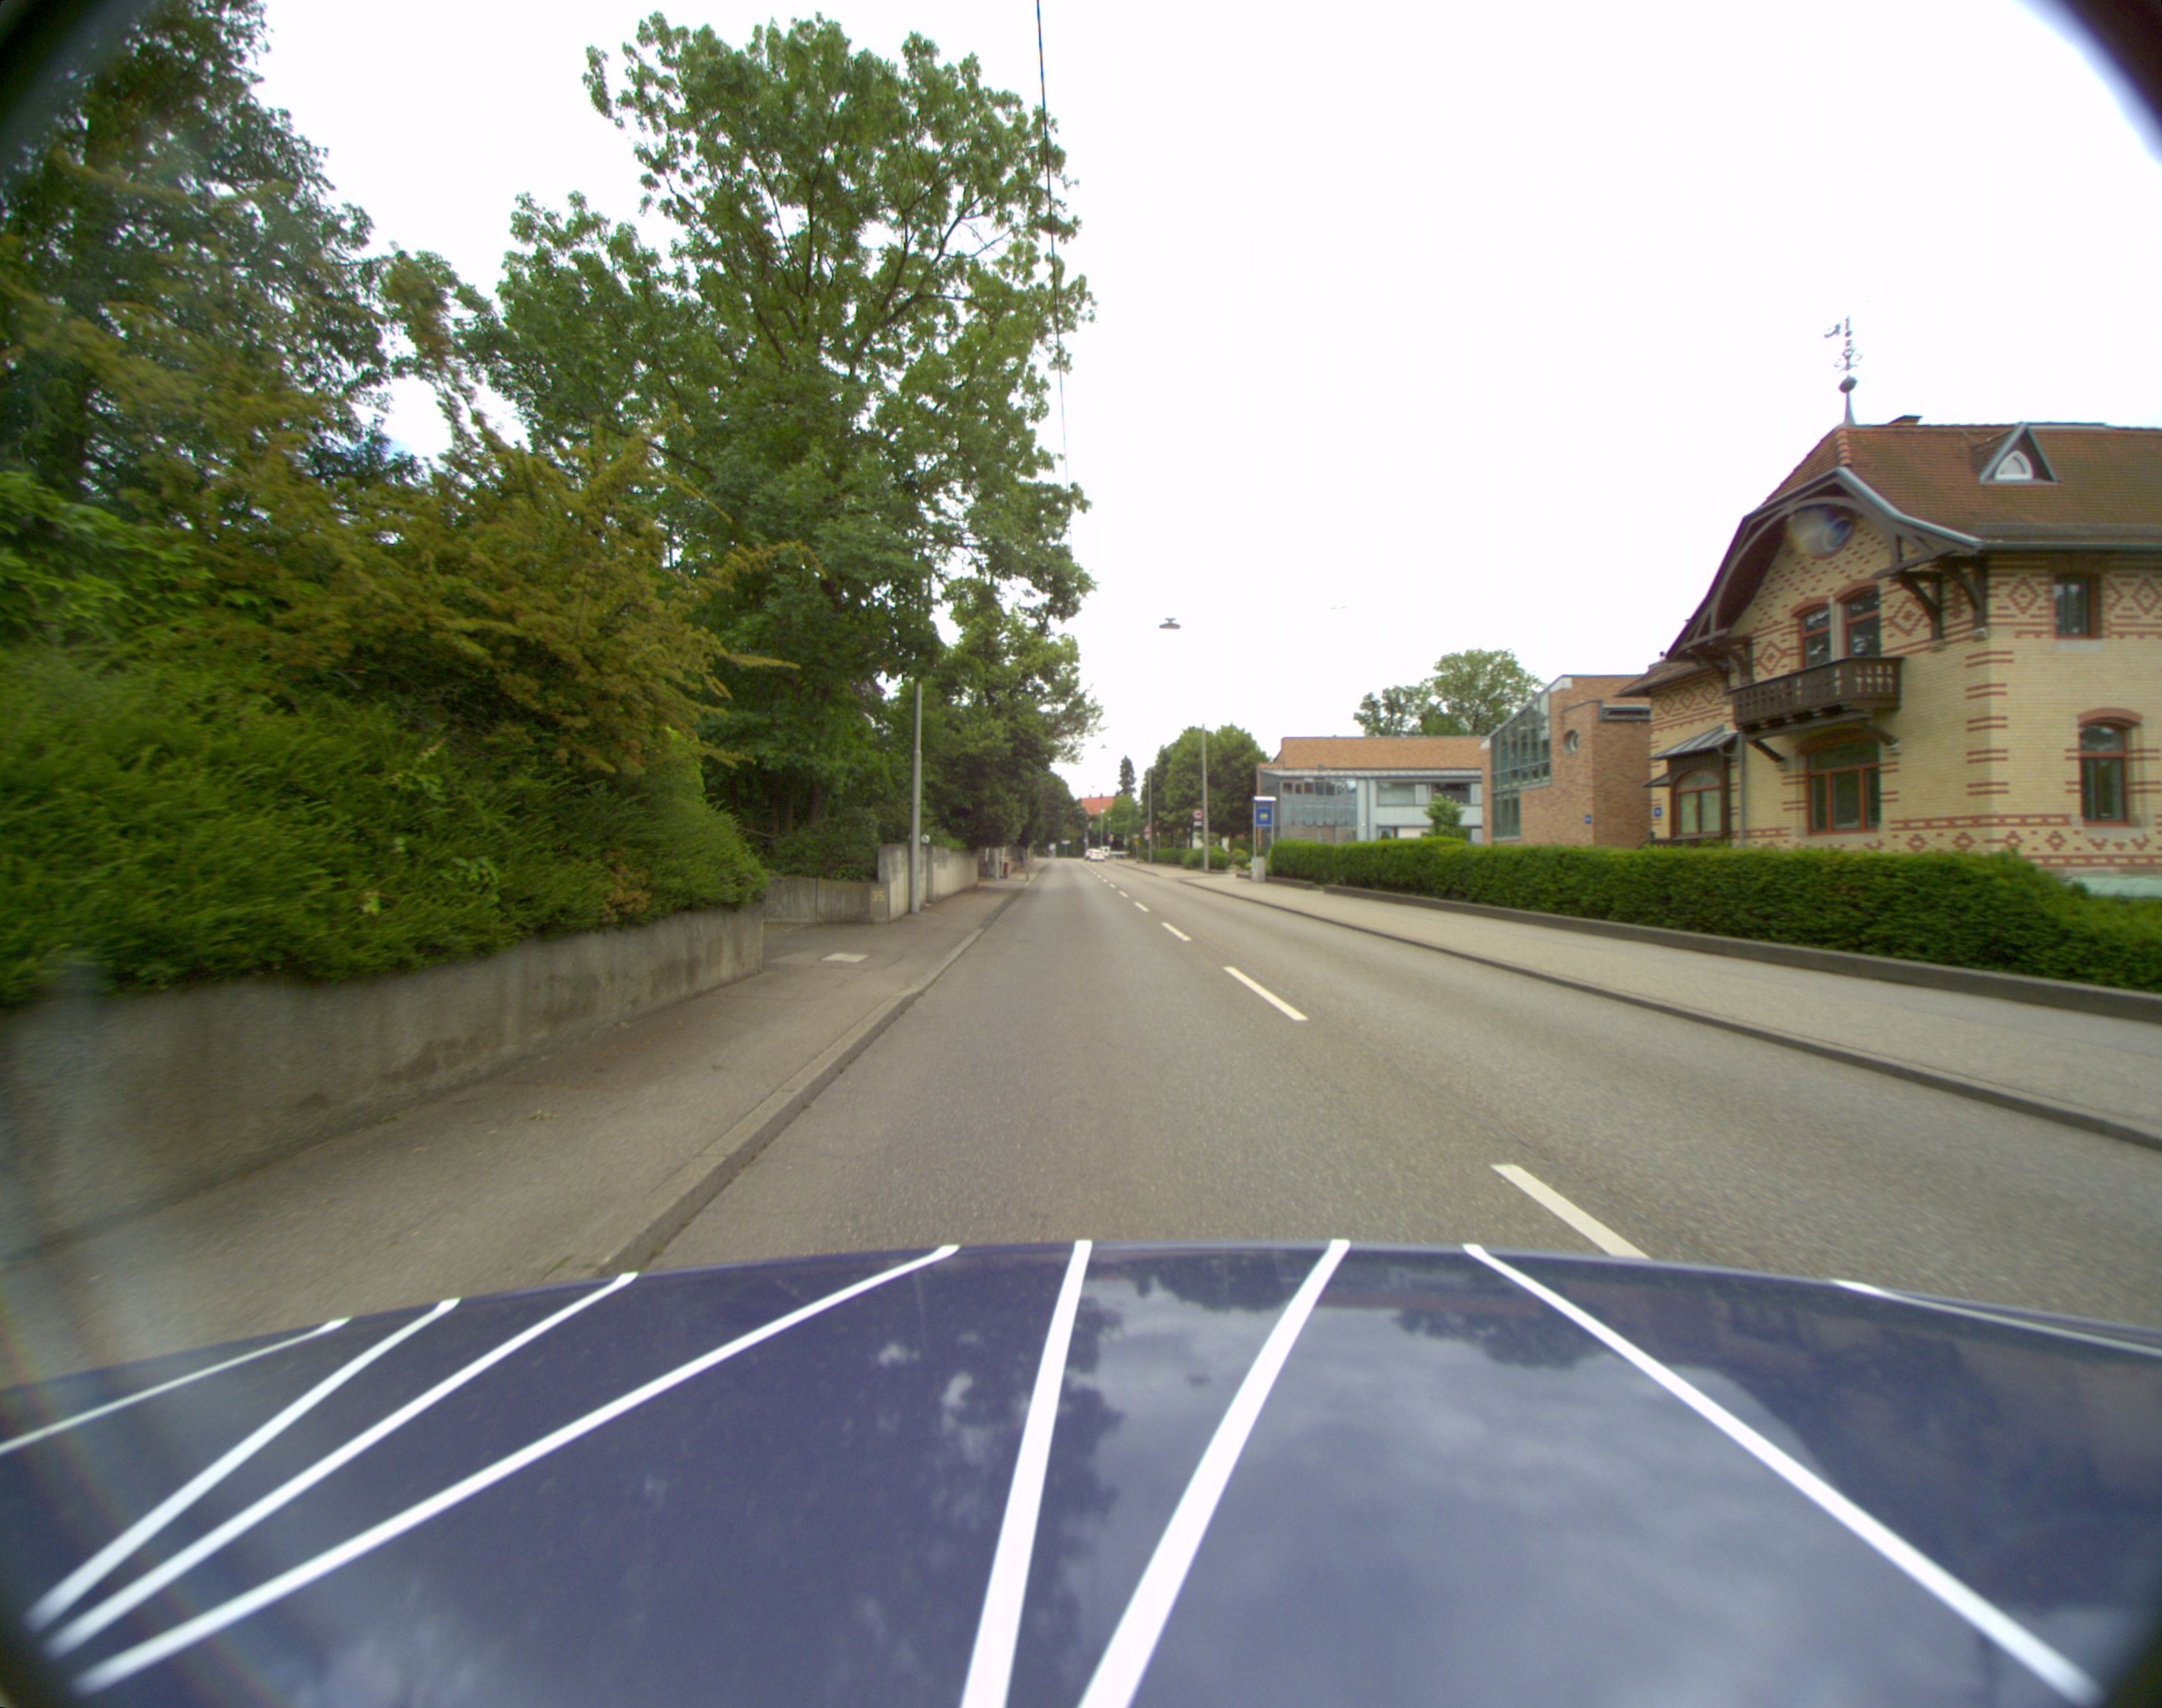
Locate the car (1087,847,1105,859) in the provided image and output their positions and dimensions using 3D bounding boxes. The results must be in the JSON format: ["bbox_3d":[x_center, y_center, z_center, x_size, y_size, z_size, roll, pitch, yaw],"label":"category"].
[{"bbox_3d":[2.045,-0.148,104.269,1.999,1.701,3.997,0,0,-6],"label":"car"}]

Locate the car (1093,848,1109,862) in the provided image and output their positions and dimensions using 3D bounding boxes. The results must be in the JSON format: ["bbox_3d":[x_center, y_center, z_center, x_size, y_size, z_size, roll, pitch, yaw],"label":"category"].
[{"bbox_3d":[2.548,0.096,98.281,1.999,1.701,3.999,0,0,-1],"label":"car"}]
